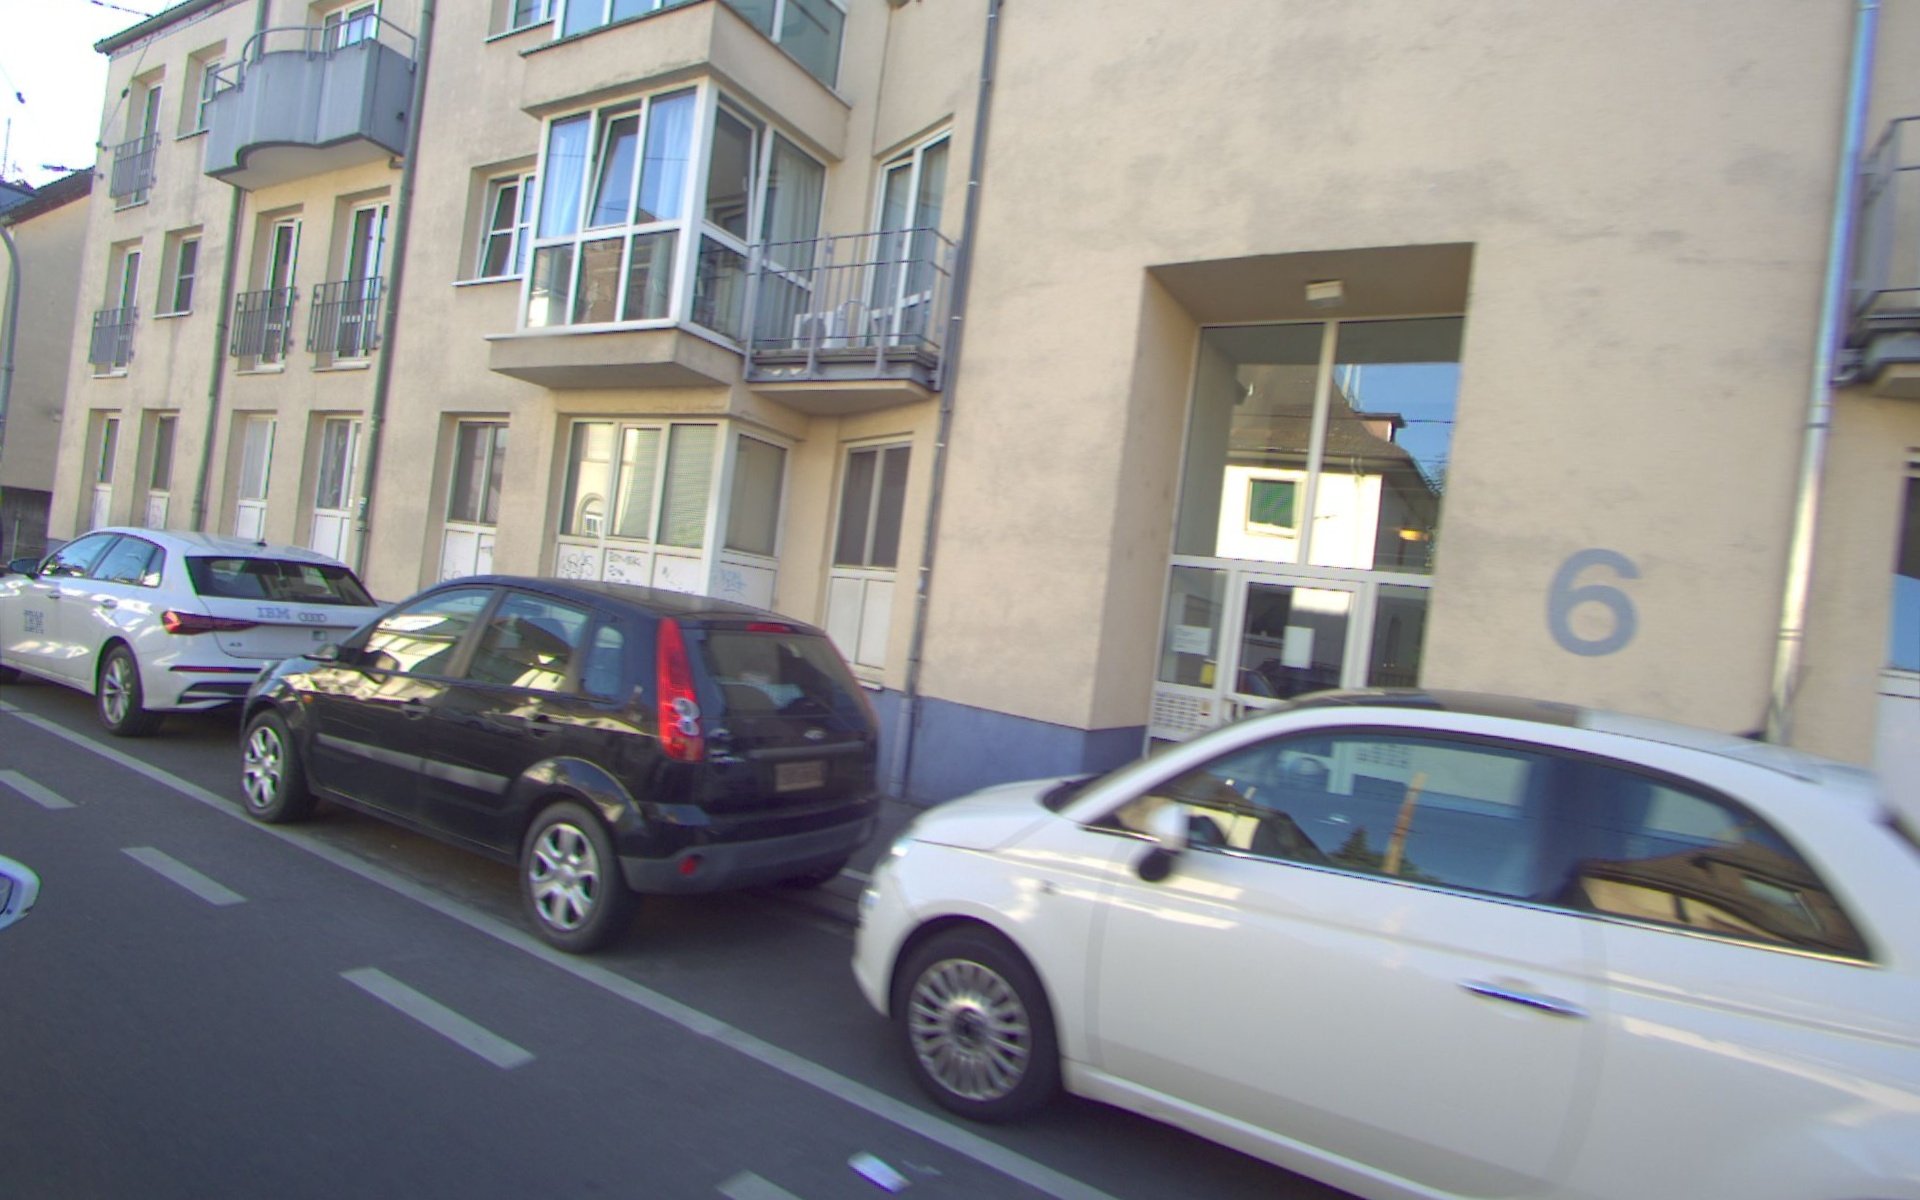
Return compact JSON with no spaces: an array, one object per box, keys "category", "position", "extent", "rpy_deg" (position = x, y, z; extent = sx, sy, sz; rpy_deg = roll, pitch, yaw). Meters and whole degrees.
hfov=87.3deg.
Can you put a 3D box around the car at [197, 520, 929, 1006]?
[{"category":"car","position":[-2.174,0.609,5.288],"extent":[3.591,1.574,1.558],"rpy_deg":[7,-2,31]}]

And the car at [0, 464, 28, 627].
[{"category":"car","position":[-14.270,-0.993,12.998],"extent":[4.486,2.009,1.910],"rpy_deg":[7,-2,31]}]

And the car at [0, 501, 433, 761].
[{"category":"car","position":[-6.399,0.166,8.206],"extent":[4.102,1.507,1.681],"rpy_deg":[7,-2,31]}]

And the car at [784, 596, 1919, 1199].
[{"category":"car","position":[1.287,1.017,3.231],"extent":[3.308,1.574,1.500],"rpy_deg":[7,-2,31]}]
